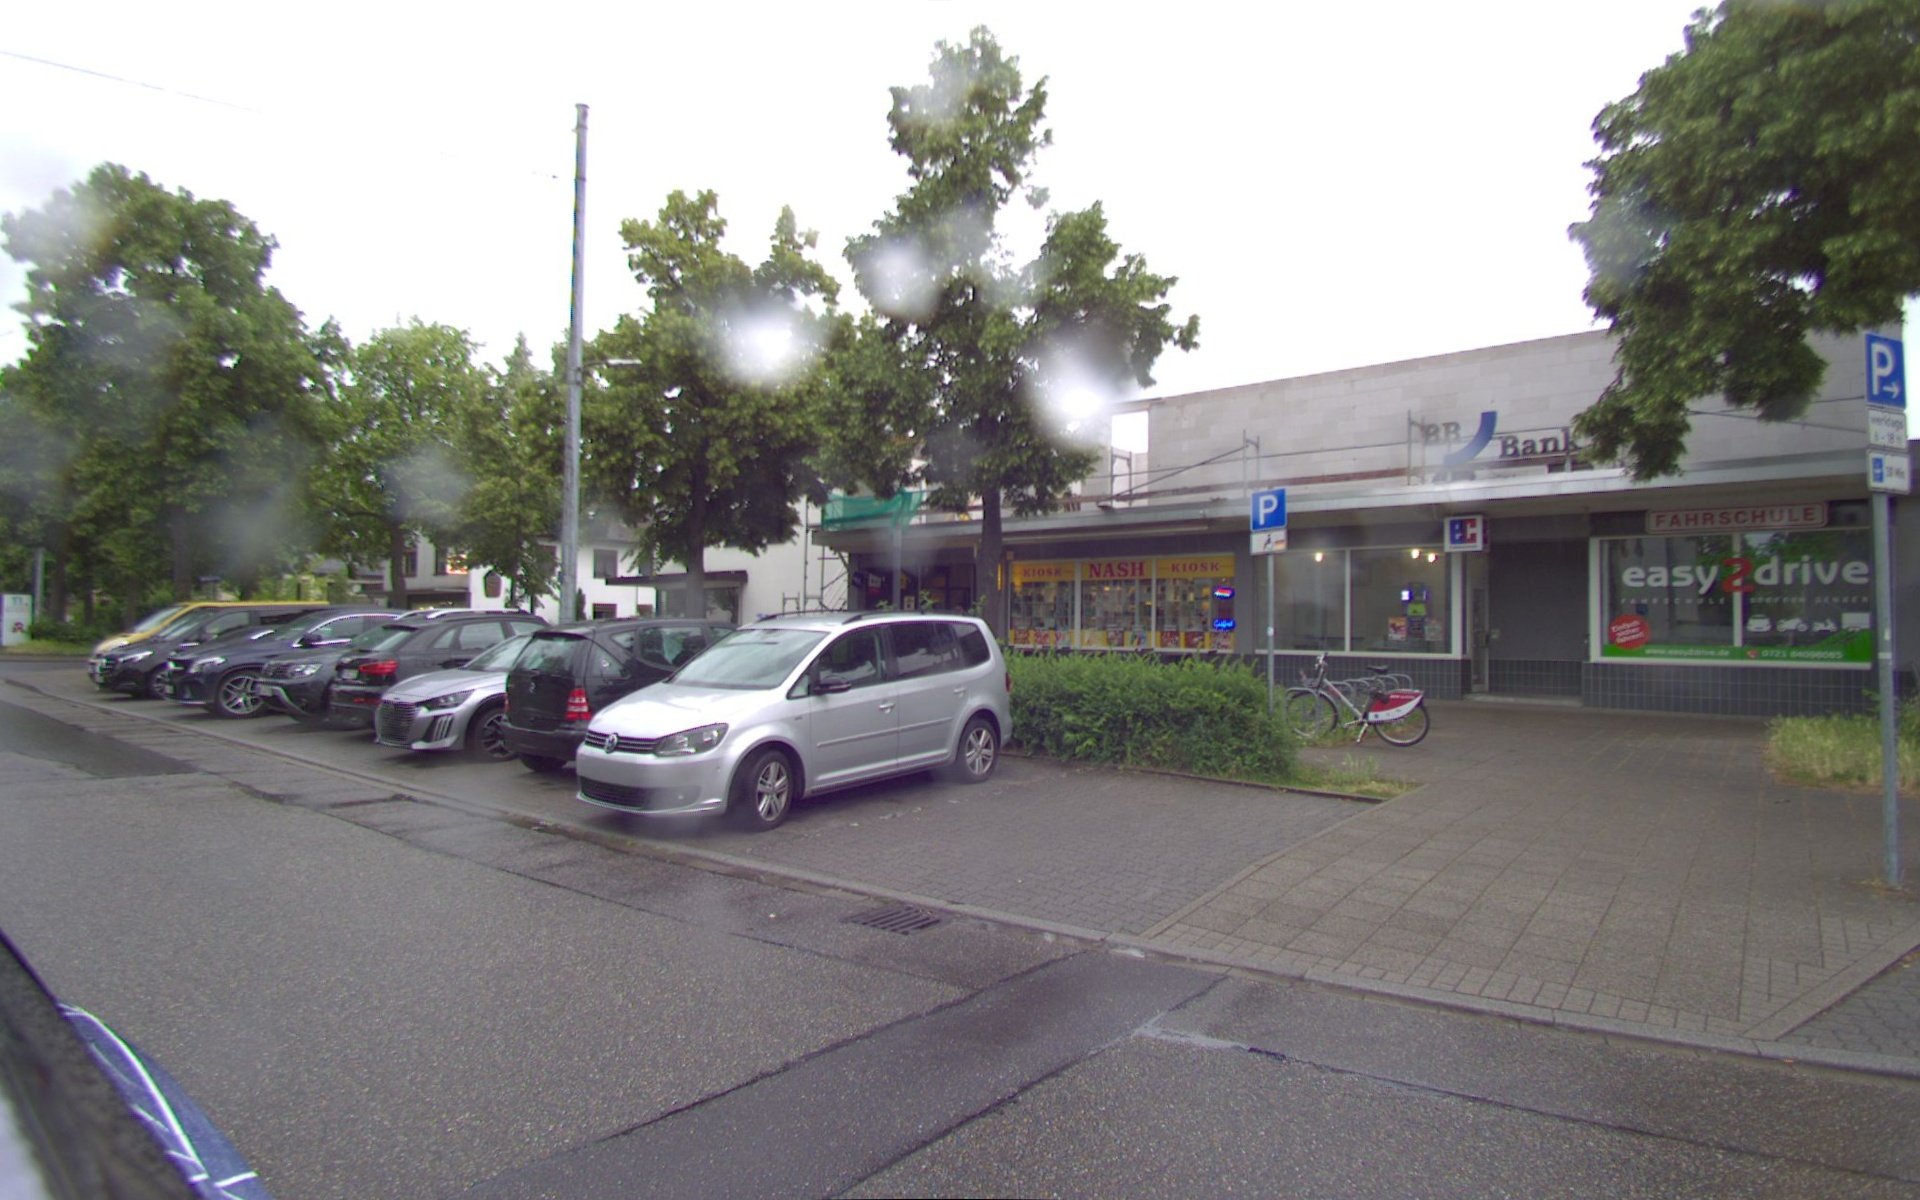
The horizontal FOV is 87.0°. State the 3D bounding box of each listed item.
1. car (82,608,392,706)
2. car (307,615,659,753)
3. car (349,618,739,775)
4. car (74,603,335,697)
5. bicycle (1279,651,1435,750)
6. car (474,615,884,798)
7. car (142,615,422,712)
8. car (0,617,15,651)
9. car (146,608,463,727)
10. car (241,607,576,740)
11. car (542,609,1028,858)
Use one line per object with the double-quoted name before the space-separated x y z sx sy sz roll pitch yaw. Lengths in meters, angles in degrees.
"car" -15.146 1.089 21.516 1.713 1.813 5.114 -1 0 38
"car" -6.571 1.037 14.356 1.713 1.607 4.231 -1 0 38
"car" -4.957 1.034 12.594 1.713 1.544 4.231 -1 0 38
"car" -17.415 1.062 23.558 1.713 1.973 4.600 -1 0 38
"bicycle" 4.820 1.198 12.338 1.739 1.115 0.316 -1 0 25
"car" -2.865 0.975 11.154 1.633 1.577 4.231 -1 0 38
"car" -13.046 1.130 19.719 1.713 1.639 4.231 -1 0 38
"car" -49.616 1.722 50.033 1.997 1.698 3.950 -1 0 37
"car" -11.001 1.023 17.260 1.713 1.740 4.231 -1 0 38
"car" -8.333 0.989 15.628 1.713 1.740 4.231 -1 0 38
"car" -1.288 0.918 9.006 1.713 1.647 4.231 -1 0 38
